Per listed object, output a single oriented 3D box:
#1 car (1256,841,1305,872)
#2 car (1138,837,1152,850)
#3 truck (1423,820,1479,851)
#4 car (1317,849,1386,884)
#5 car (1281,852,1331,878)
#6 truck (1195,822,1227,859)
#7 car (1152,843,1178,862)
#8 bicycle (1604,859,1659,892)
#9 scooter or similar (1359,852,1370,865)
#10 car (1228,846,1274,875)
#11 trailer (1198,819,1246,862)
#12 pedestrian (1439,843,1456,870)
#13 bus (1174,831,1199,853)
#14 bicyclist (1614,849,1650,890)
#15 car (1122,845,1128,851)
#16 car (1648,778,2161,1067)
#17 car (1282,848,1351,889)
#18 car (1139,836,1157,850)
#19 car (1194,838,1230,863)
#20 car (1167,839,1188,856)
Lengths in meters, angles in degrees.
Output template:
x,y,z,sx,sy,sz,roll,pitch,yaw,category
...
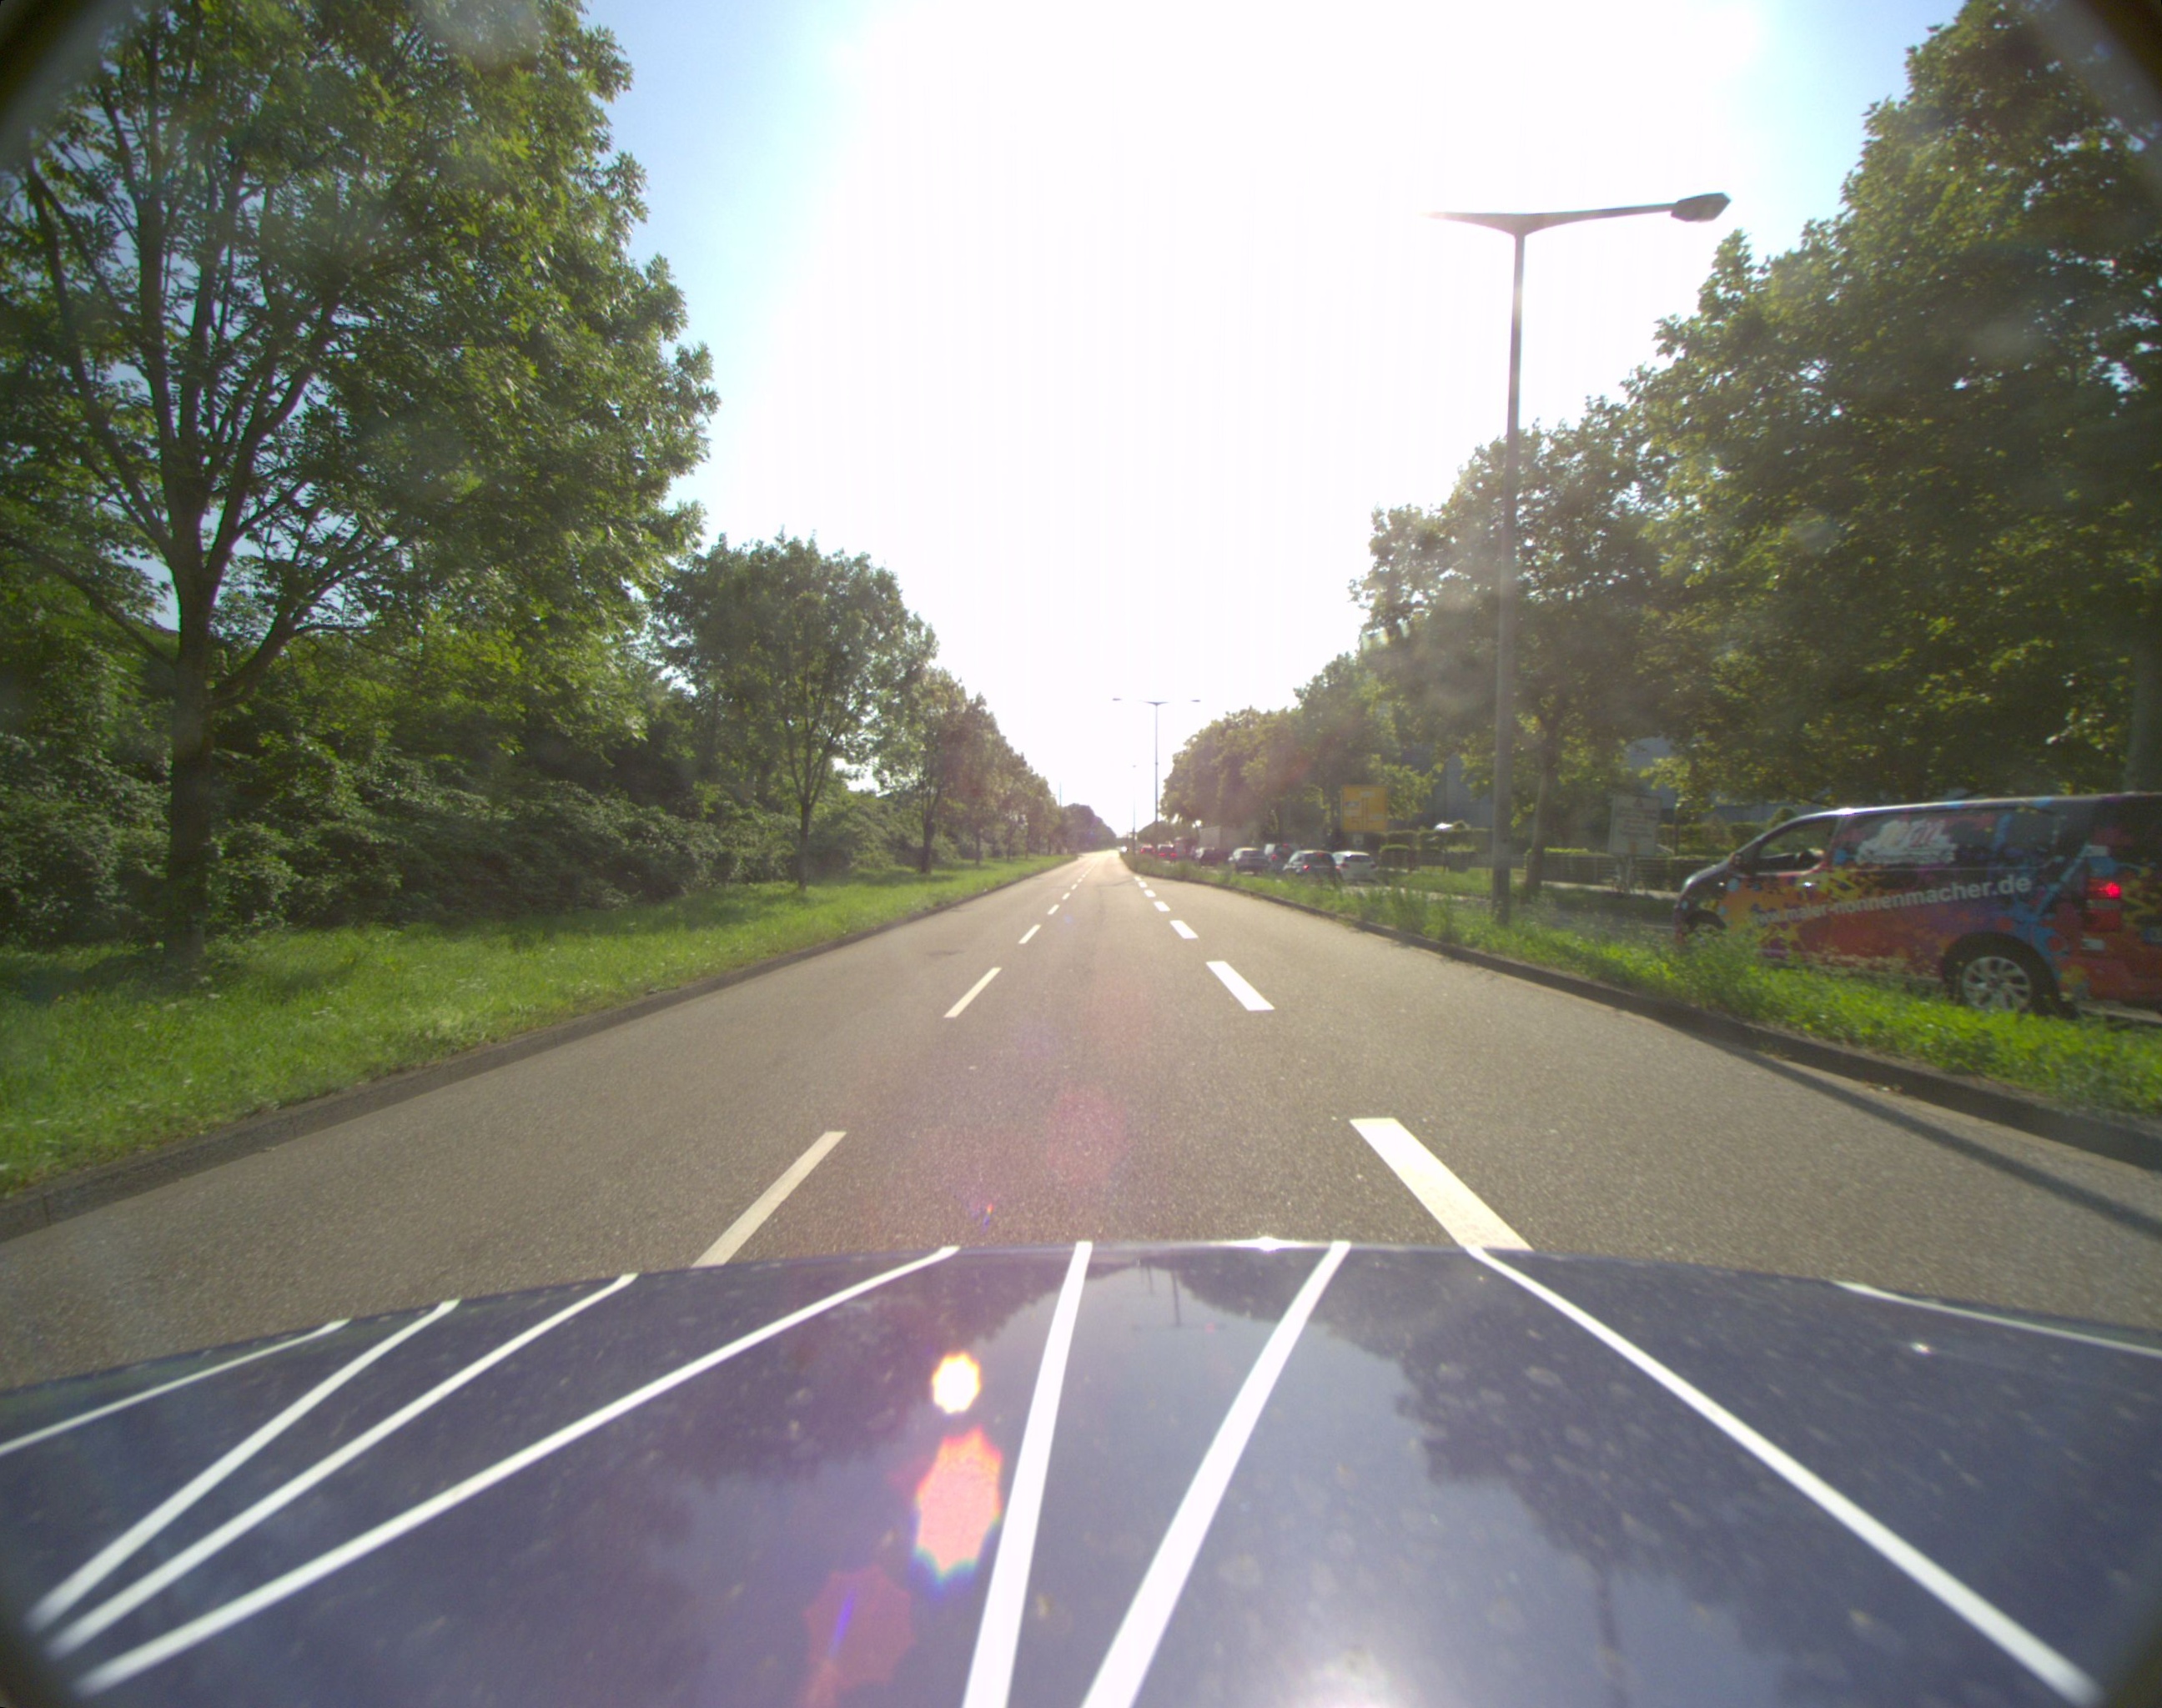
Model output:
x,y,z,sx,sy,sz,roll,pitch,yaw,category
12.648,0.113,48.547,1.989,1.848,4.969,1,1,2,car
9.525,-1.570,113.035,1.916,1.853,4.890,0,1,2,car
35.814,-1.812,73.473,5.915,2.844,2.233,-2,1,-35,truck
12.241,0.535,34.637,1.795,1.474,4.000,0,1,1,car
12.212,0.570,41.453,1.794,1.255,4.096,1,1,4,car
13.902,-1.417,81.527,2.614,3.798,5.891,1,1,2,truck
8.034,-0.160,72.982,1.999,1.749,4.476,1,1,0,car
19.479,0.737,26.918,0.649,1.101,1.800,0,1,2,bicycle
24.262,0.376,65.093,0.510,1.121,1.381,-1,1,4,scooter or similar
9.799,0.324,44.072,1.884,1.584,4.108,0,1,2,car
13.625,-1.325,74.789,2.639,3.800,13.812,1,1,2,trailer
22.866,0.127,47.403,0.618,1.643,0.934,-1,1,2,pedestrian
15.563,-1.742,112.808,2.596,3.062,12.312,-1,1,3,bus
19.493,0.544,26.888,0.649,1.431,0.840,0,1,2,bicyclist
11.102,-1.469,191.498,1.544,1.433,3.397,0,-1,6,car
8.280,0.463,7.559,1.936,2.016,4.566,0,1,1,car
9.169,0.517,29.802,1.680,1.477,3.492,-1,1,1,car
8.452,-1.362,96.344,1.958,1.714,4.587,1,0,2,car
9.751,-0.292,56.683,1.998,1.749,4.307,1,1,1,car
11.402,-0.795,89.670,1.998,1.942,5.036,0,1,2,car
